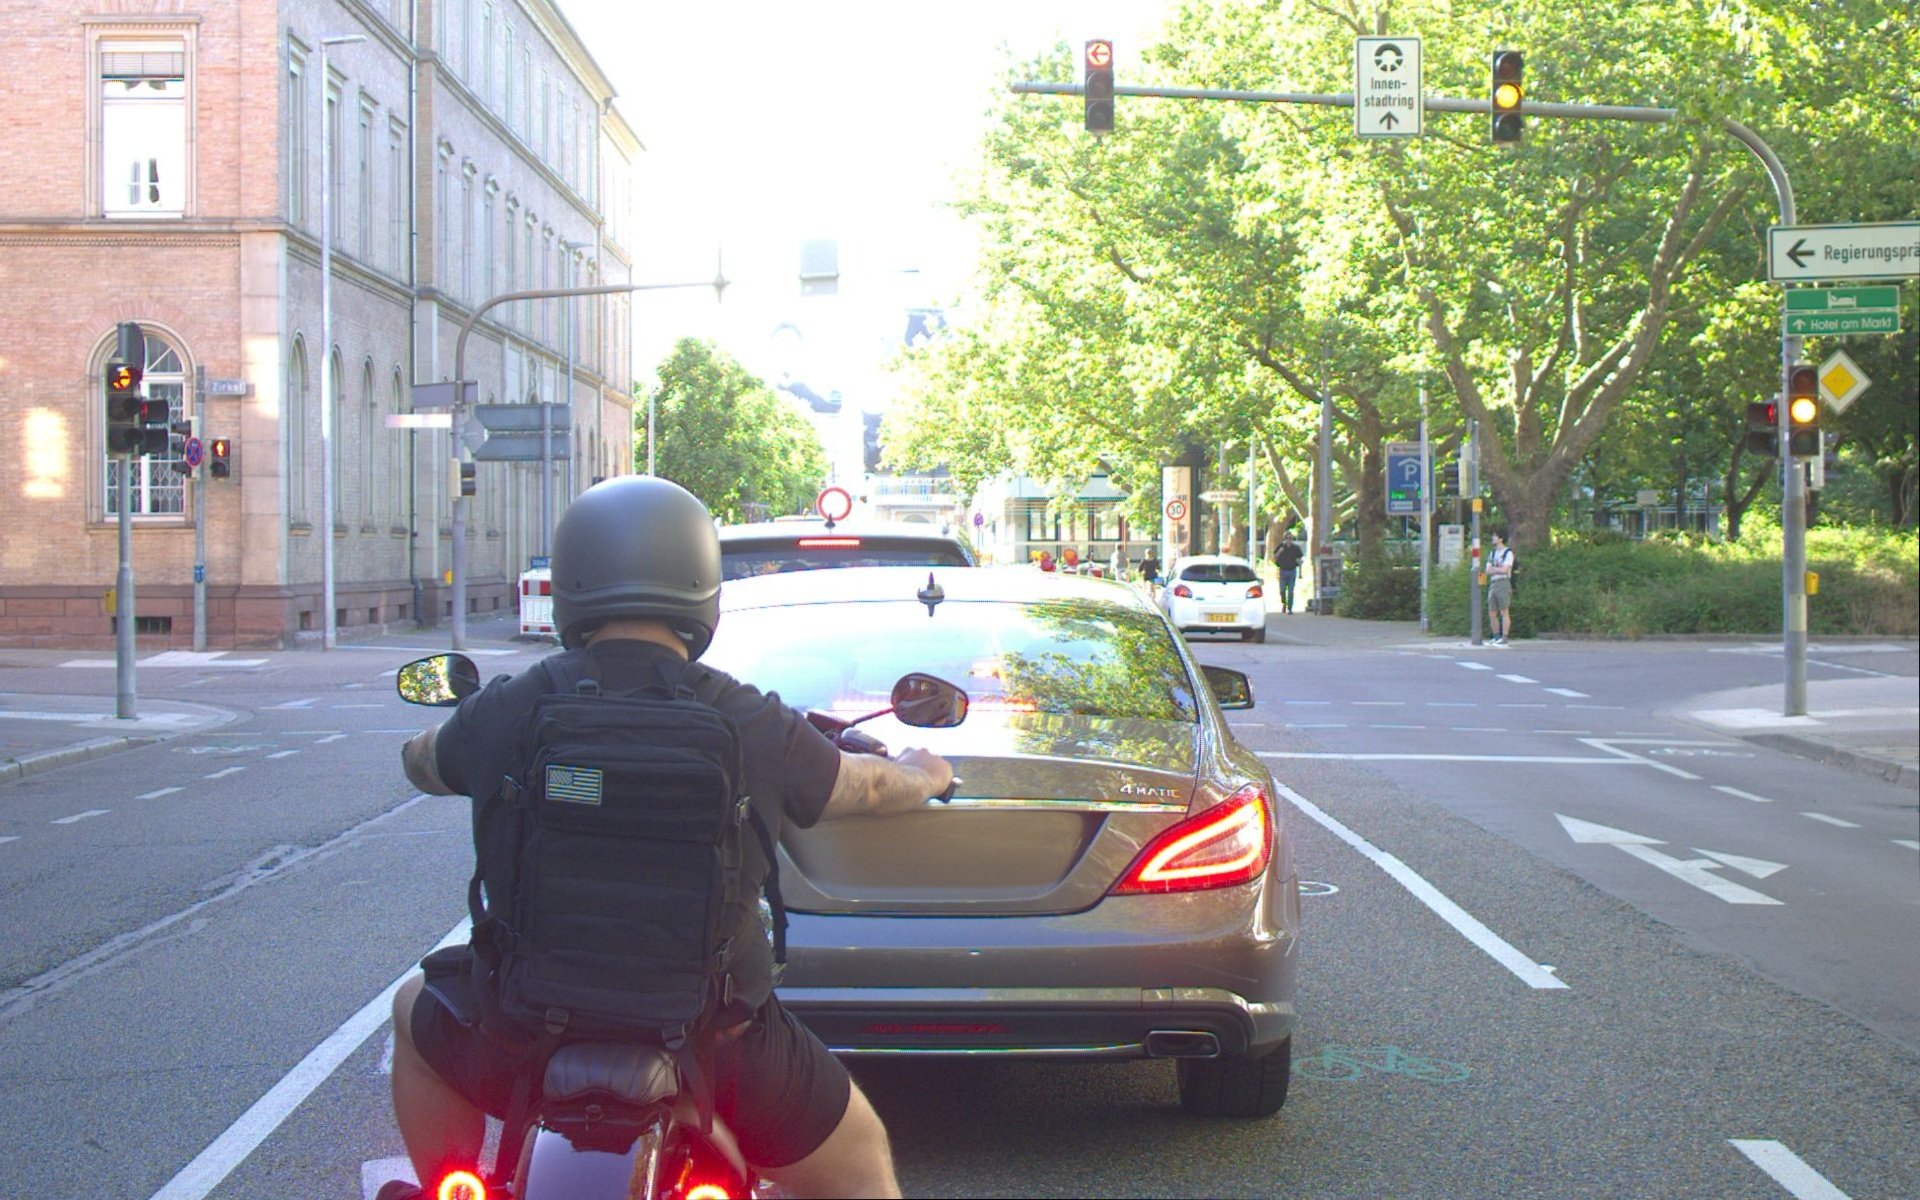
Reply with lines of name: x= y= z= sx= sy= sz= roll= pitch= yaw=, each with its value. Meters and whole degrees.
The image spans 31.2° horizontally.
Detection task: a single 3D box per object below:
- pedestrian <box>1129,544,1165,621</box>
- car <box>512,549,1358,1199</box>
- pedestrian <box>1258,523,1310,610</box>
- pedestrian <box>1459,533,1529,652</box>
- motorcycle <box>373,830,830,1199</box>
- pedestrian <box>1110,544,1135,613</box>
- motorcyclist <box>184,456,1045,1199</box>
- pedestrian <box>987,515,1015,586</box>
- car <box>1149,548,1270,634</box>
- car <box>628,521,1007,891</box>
pedestrian: x=4.894 y=-0.464 z=90.087 sx=0.814 sy=2.007 sz=1.271 roll=1 pitch=0 yaw=-1
car: x=-0.078 y=0.602 z=9.631 sx=1.882 sy=1.444 sz=3.820 roll=1 pitch=1 yaw=-1
pedestrian: x=7.221 y=-0.748 z=76.714 sx=0.749 sy=1.903 sz=0.926 roll=1 pitch=0 yaw=-28
pedestrian: x=8.308 y=-0.120 z=53.535 sx=1.002 sy=1.820 sz=1.076 roll=1 pitch=0 yaw=6
motorcycle: x=-0.490 y=0.934 z=5.298 sx=0.513 sy=0.999 sz=2.013 roll=1 pitch=1 yaw=-1
pedestrian: x=4.772 y=-0.627 z=100.752 sx=0.656 sy=2.007 sz=0.933 roll=1 pitch=0 yaw=-1
motorcyclist: x=-0.478 y=0.603 z=5.291 sx=1.149 sy=1.593 sz=1.288 roll=1 pitch=0 yaw=-1
pedestrian: x=1.196 y=-1.454 z=100.857 sx=0.764 sy=2.044 sz=0.712 roll=1 pitch=0 yaw=-1
car: x=4.264 y=-0.185 z=59.237 sx=1.776 sy=1.423 sz=3.802 roll=0 pitch=1 yaw=-1
car: x=-0.632 y=0.417 z=16.747 sx=1.621 sy=1.588 sz=4.000 roll=0 pitch=1 yaw=-1
